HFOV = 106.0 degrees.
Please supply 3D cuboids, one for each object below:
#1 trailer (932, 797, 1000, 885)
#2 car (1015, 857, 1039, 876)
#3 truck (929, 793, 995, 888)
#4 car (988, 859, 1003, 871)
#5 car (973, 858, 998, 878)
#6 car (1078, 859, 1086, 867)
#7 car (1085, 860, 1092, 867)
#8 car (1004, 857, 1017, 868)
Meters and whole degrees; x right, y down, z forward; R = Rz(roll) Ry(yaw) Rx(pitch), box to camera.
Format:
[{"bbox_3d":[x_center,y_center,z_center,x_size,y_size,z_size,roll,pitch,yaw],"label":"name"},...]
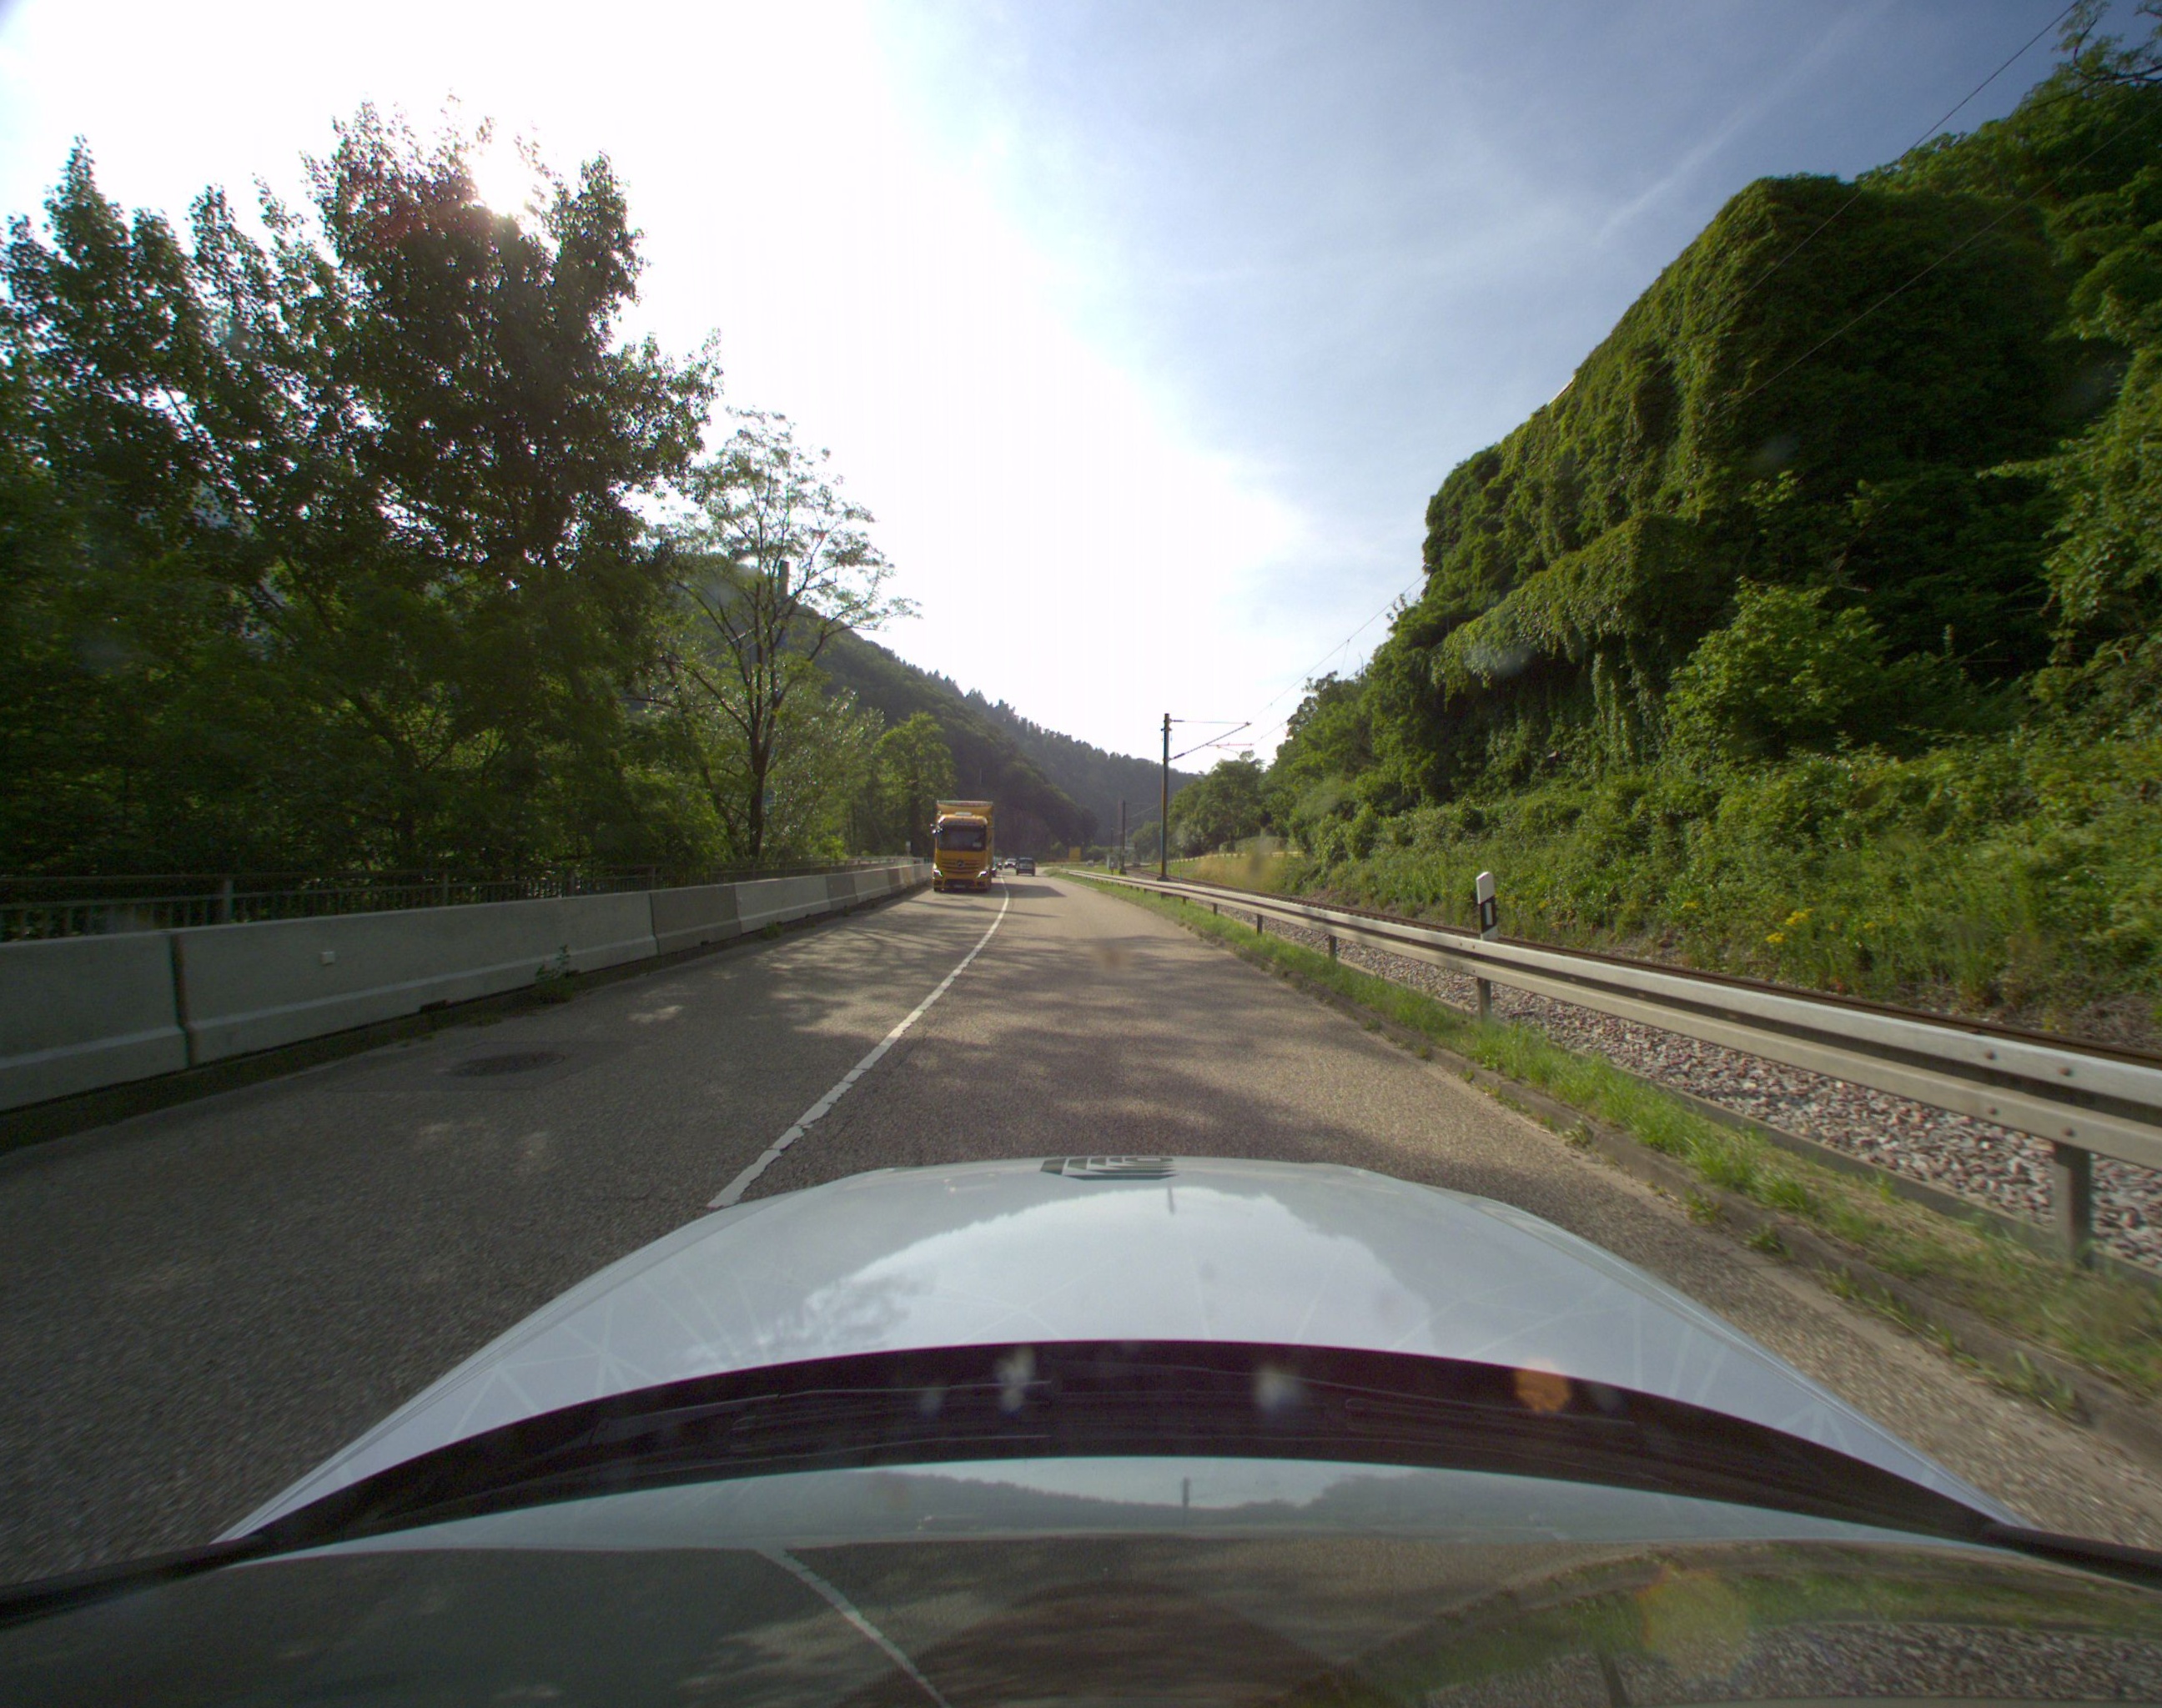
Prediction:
[{"bbox_3d":[-5.906,-0.575,43.842,2.852,4.013,13.645,0,0,-5],"label":"trailer"},{"bbox_3d":[-5.111,1.203,76.599,1.992,1.723,3.980,0,-1,-7],"label":"car"},{"bbox_3d":[-5.426,-0.562,37.886,2.738,4.028,6.397,0,0,-7],"label":"truck"},{"bbox_3d":[-11.447,1.473,109.086,1.796,1.556,4.322,2,0,-6],"label":"car"},{"bbox_3d":[-7.593,1.081,64.940,1.834,1.496,4.926,1,-1,-5],"label":"car"},{"bbox_3d":[0.325,2.298,207.386,1.986,2.014,4.001,0,-1,2],"label":"car"},{"bbox_3d":[2.160,2.694,233.093,1.986,2.014,4.001,0,-1,2],"label":"car"},{"bbox_3d":[-11.450,1.347,131.626,1.990,1.629,4.499,2,-1,-5],"label":"car"}]
